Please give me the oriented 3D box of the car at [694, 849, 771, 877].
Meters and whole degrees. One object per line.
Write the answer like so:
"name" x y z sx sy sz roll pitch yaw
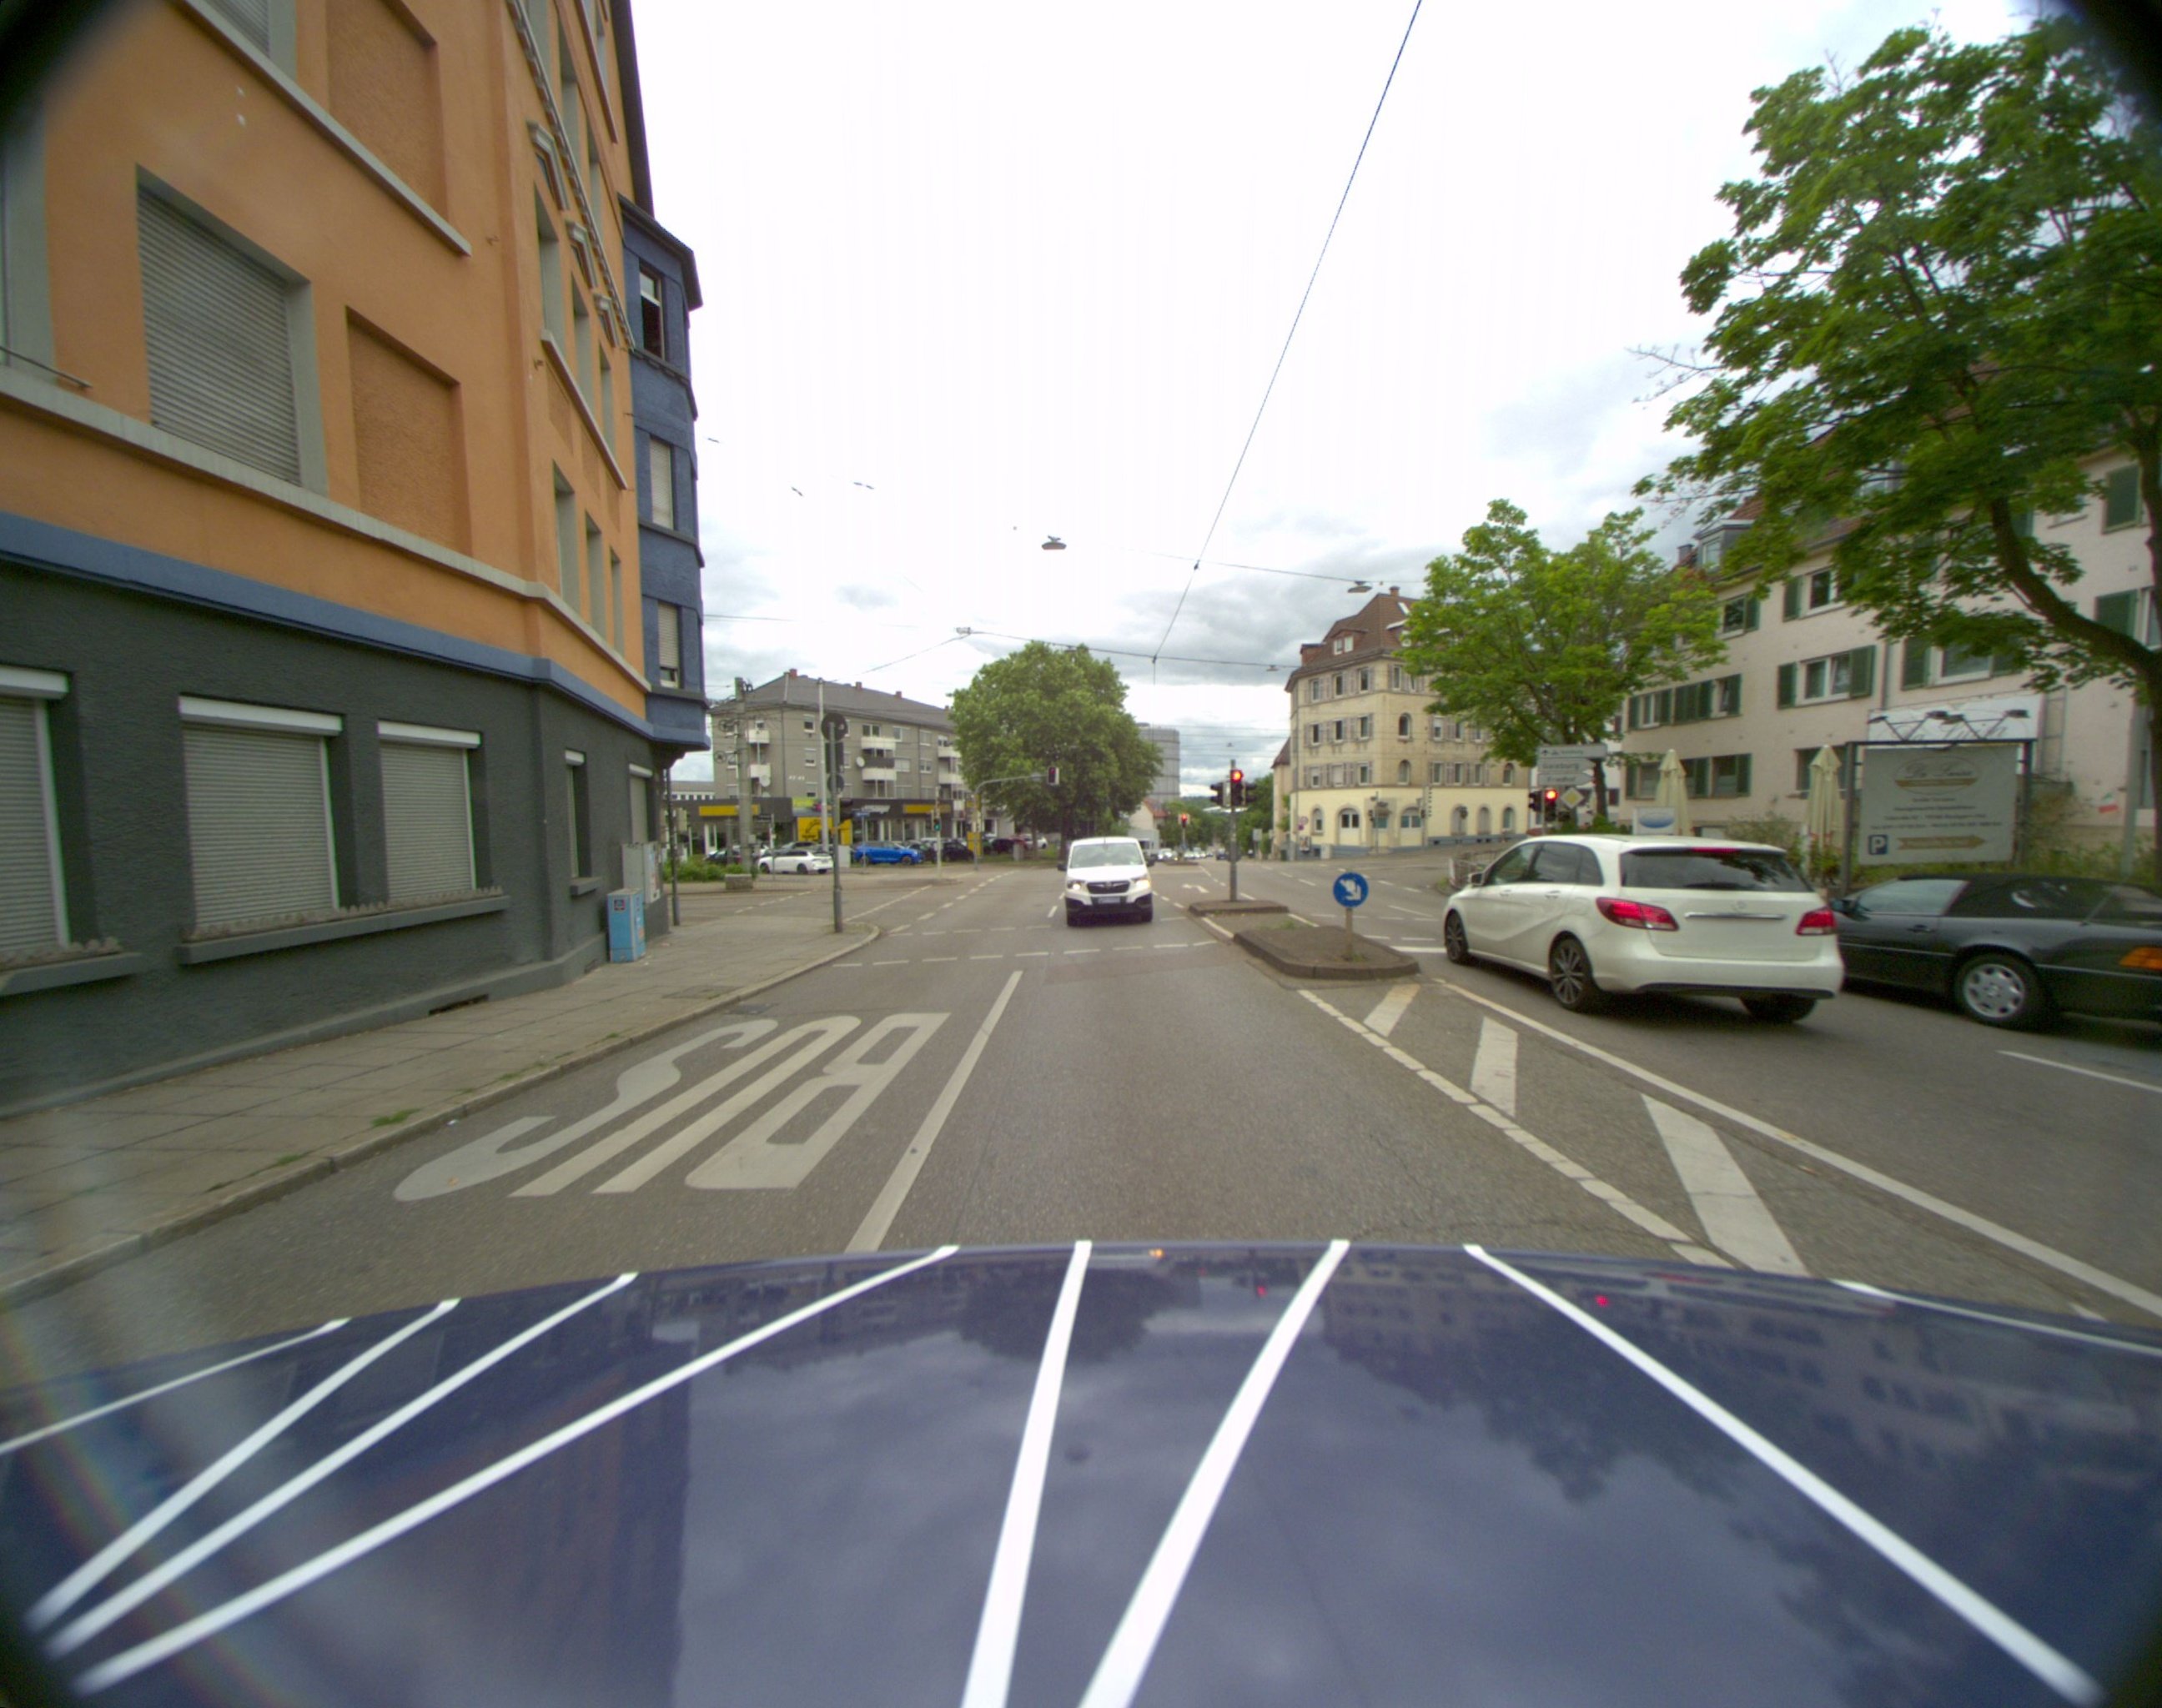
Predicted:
"car" -20.881 0.487 45.537 4.131 1.526 1.921 1 2 22

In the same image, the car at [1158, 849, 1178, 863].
"car" 11.016 0.217 96.390 1.996 1.620 4.413 -2 1 13

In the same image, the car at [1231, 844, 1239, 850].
"car" 38.179 -1.732 188.332 1.997 1.590 4.004 -2 0 13

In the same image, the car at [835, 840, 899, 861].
"car" -15.502 -0.271 55.135 3.993 1.541 1.864 0 2 12

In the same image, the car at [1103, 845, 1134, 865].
"car" 3.149 0.087 63.450 1.997 1.517 4.260 -2 1 10

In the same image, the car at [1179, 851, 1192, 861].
"car" 19.422 0.337 140.557 1.997 1.590 4.004 -2 0 13

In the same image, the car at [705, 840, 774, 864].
"car" -23.824 -0.169 53.162 1.789 1.526 4.125 1 2 29

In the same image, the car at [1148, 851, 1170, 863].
"car" 9.104 0.356 88.416 1.916 1.291 4.412 -2 1 13

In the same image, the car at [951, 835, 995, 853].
"car" -9.709 -0.900 68.544 3.616 1.544 1.617 -1 2 -27

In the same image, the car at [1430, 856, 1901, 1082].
"car" 5.222 0.829 7.698 1.779 1.538 4.327 2 1 7

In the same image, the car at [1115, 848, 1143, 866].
"car" 4.447 0.231 69.570 1.997 1.457 4.412 -2 1 10

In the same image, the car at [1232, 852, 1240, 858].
"car" 40.571 0.226 199.163 1.997 1.590 4.004 -2 0 13

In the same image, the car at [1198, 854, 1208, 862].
"car" 28.317 0.911 176.615 1.997 1.590 4.004 -2 0 13

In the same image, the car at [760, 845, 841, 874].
"car" -16.134 0.304 43.683 4.131 1.526 1.921 1 2 21

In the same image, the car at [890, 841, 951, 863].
"car" -11.183 -0.133 53.053 1.824 1.468 4.009 1 0 34

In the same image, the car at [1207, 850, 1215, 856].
"car" 34.916 -0.358 204.306 1.997 1.590 4.004 -2 0 13

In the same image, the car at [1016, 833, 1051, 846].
"car" -5.359 -1.643 85.981 3.624 1.496 1.786 -1 2 -41

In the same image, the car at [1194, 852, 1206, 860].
"car" 25.314 0.380 161.590 1.997 1.590 4.004 -2 0 13

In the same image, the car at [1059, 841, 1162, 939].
"car" 0.516 0.712 17.122 1.888 1.827 4.676 -2 0 -2

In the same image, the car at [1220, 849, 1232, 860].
"car" 24.972 0.076 130.696 1.868 1.873 4.288 2 1 10

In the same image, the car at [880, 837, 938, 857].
"car" -13.370 -0.539 59.217 3.993 1.541 1.864 0 2 12

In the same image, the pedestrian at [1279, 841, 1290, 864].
"pedestrian" 17.723 -0.105 66.240 0.746 1.925 0.904 -4 1 11

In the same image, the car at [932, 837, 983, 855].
"car" -10.767 -0.724 66.149 3.994 1.541 1.864 0 2 7

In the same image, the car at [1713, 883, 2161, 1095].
"car" 8.590 1.044 7.266 1.805 1.274 4.238 2 1 6

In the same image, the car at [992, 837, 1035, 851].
"car" -7.027 -1.053 79.346 4.007 1.496 1.858 -1 2 -34

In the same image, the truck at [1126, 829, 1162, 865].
"truck" 6.689 -0.781 79.625 2.769 3.482 8.176 -2 1 12

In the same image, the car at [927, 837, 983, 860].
"car" -9.706 -0.404 58.697 1.823 1.599 4.178 7 4 33

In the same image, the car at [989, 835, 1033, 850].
"car" -7.023 -1.187 76.493 4.007 1.496 1.858 -1 2 -36

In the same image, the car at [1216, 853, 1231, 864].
"car" 20.208 0.645 107.627 1.757 1.439 3.755 -1 1 14

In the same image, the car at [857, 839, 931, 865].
"car" -11.950 -0.140 48.717 4.255 1.568 1.829 1 1 2

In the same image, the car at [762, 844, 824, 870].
"car" -20.499 0.165 54.230 1.709 1.770 4.252 1 1 20
